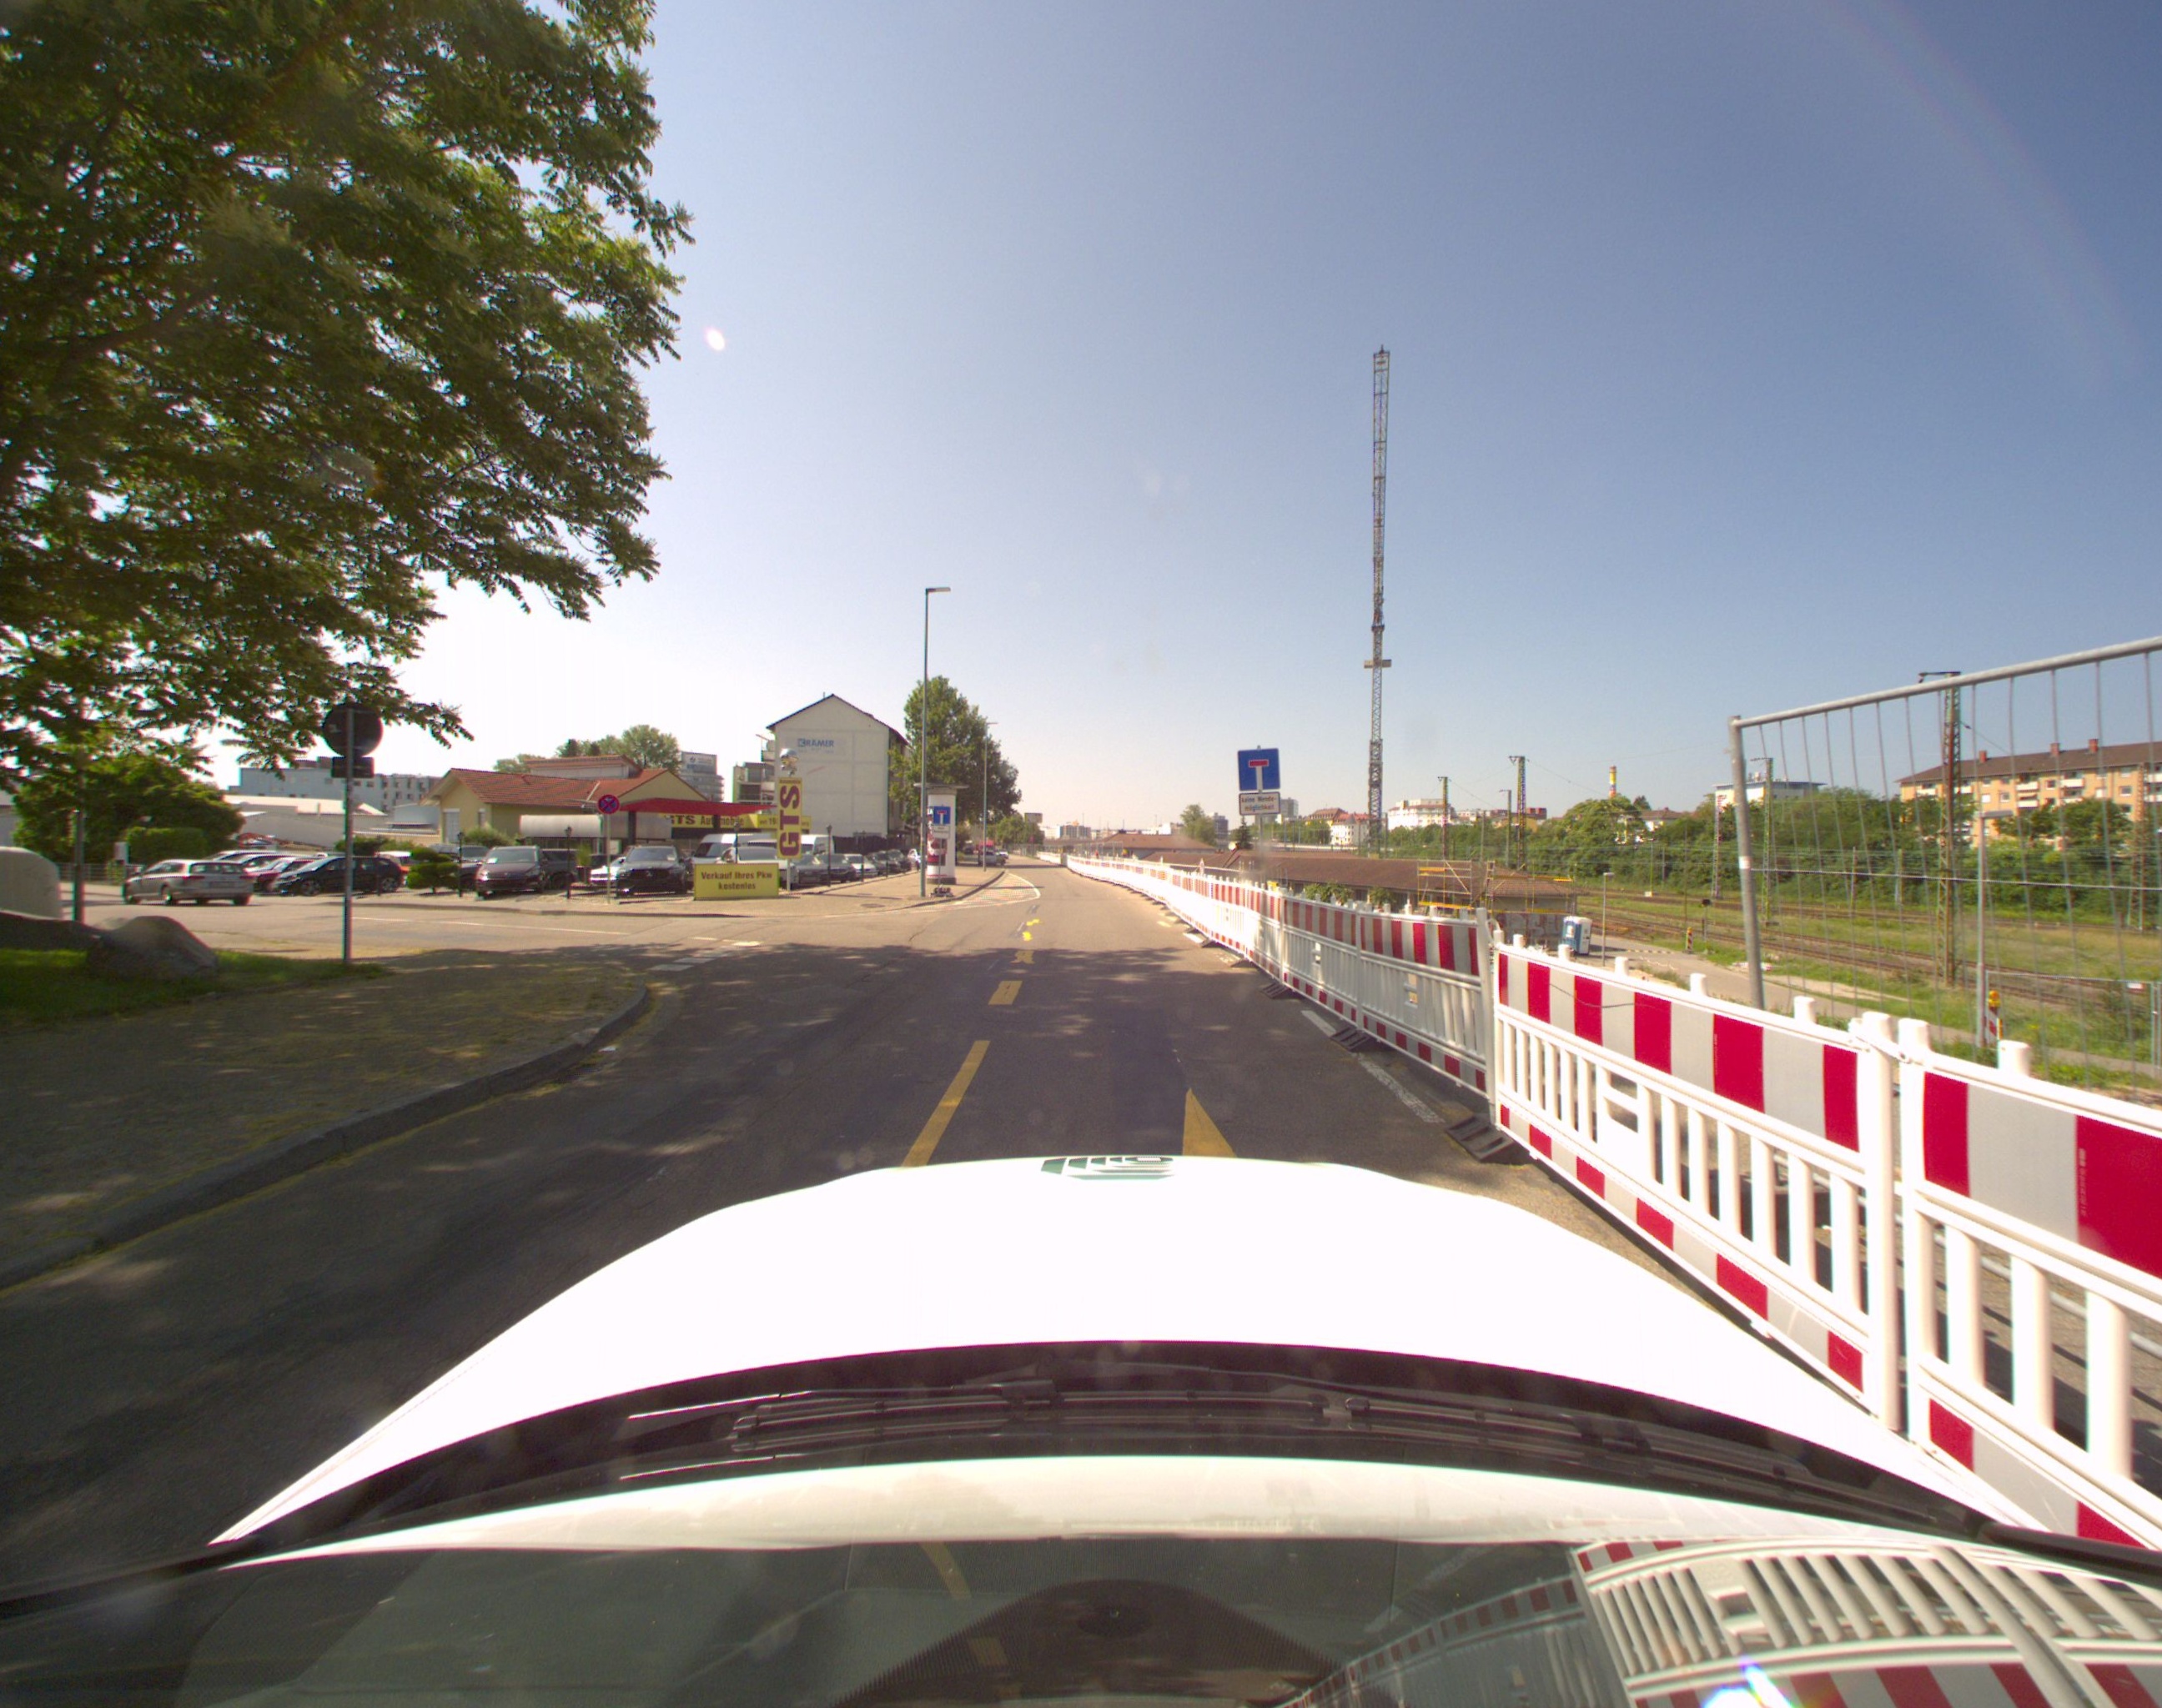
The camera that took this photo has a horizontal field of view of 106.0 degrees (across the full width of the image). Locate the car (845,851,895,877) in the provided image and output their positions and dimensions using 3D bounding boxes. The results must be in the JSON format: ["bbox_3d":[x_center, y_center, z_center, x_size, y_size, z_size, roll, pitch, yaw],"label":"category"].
[{"bbox_3d":[-12.847,0.613,49.378,1.679,1.473,3.957,-2,1,-34],"label":"car"}]

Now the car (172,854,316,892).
[{"bbox_3d":[-37.889,0.797,37.005,1.847,1.603,4.148,0,0,23],"label":"car"}]

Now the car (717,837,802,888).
[{"bbox_3d":[-15.807,0.451,40.381,2.238,2.350,4.823,0,-1,1],"label":"car"}]

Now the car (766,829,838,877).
[{"bbox_3d":[-15.869,-0.003,46.739,2.241,2.430,5.712,4,-1,-3],"label":"car"}]

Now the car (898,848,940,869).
[{"bbox_3d":[-12.385,0.328,62.096,1.788,1.473,3.960,-2,1,-32],"label":"car"}]

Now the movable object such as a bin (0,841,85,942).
[{"bbox_3d":[-17.387,0.601,12.917,1.754,1.526,1.463,-2,2,21],"label":"movable object such as a bin"}]

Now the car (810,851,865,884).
[{"bbox_3d":[-11.986,0.635,39.924,1.846,1.473,3.965,-2,1,-27],"label":"car"}]

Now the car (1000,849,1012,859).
[{"bbox_3d":[-10.973,0.074,119.252,1.714,1.416,4.070,0,-1,-5],"label":"car"}]

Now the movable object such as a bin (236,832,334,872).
[{"bbox_3d":[-59.467,-0.145,60.907,1.975,2.907,4.863,0,0,28],"label":"movable object such as a bin"}]

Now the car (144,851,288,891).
[{"bbox_3d":[-40.176,0.736,37.952,1.869,1.750,4.195,0,0,23],"label":"car"}]

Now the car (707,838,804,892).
[{"bbox_3d":[-11.803,0.441,29.332,1.991,1.707,4.610,-1,-2,-38],"label":"car"}]

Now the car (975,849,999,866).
[{"bbox_3d":[-8.937,0.303,77.819,1.863,1.498,4.030,0,1,-1],"label":"car"}]

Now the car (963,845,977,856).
[{"bbox_3d":[-20.964,-0.599,153.796,1.931,1.834,3.921,4,-1,-2],"label":"car"}]

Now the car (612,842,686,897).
[{"bbox_3d":[-14.450,0.523,27.433,2.053,1.707,4.277,0,-1,-26],"label":"car"}]

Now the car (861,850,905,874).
[{"bbox_3d":[-13.162,0.553,53.924,1.678,1.473,3.960,-2,1,-32],"label":"car"}]

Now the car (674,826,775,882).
[{"bbox_3d":[-18.573,0.033,42.870,2.267,2.758,6.158,0,-1,4],"label":"car"}]

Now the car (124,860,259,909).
[{"bbox_3d":[-28.926,0.936,26.480,4.549,1.493,1.692,0,0,25],"label":"car"}]

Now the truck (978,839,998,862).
[{"bbox_3d":[-11.111,-0.434,97.122,2.235,2.648,5.670,0,-1,-5],"label":"truck"}]

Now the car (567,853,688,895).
[{"bbox_3d":[-18.882,0.781,34.185,1.897,1.575,4.700,0,0,9],"label":"car"}]

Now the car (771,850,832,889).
[{"bbox_3d":[-11.786,0.632,34.156,1.846,1.473,3.965,-2,1,-27],"label":"car"}]

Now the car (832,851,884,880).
[{"bbox_3d":[-12.412,0.641,45.178,1.791,1.473,3.962,-3,1,-29],"label":"car"}]

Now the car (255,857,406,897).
[{"bbox_3d":[-30.786,0.897,33.559,1.847,1.489,4.156,0,0,23],"label":"car"}]

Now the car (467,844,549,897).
[{"bbox_3d":[-19.665,0.505,28.117,1.815,1.656,4.275,-1,0,-29],"label":"car"}]

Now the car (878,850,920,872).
[{"bbox_3d":[-13.134,0.513,58.615,1.678,1.473,3.960,-3,1,-32],"label":"car"}]

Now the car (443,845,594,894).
[{"bbox_3d":[-23.074,0.584,33.505,4.918,1.842,2.137,0,0,-42],"label":"car"}]

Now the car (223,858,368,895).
[{"bbox_3d":[-33.519,0.918,34.875,1.777,1.489,4.081,0,0,23],"label":"car"}]
